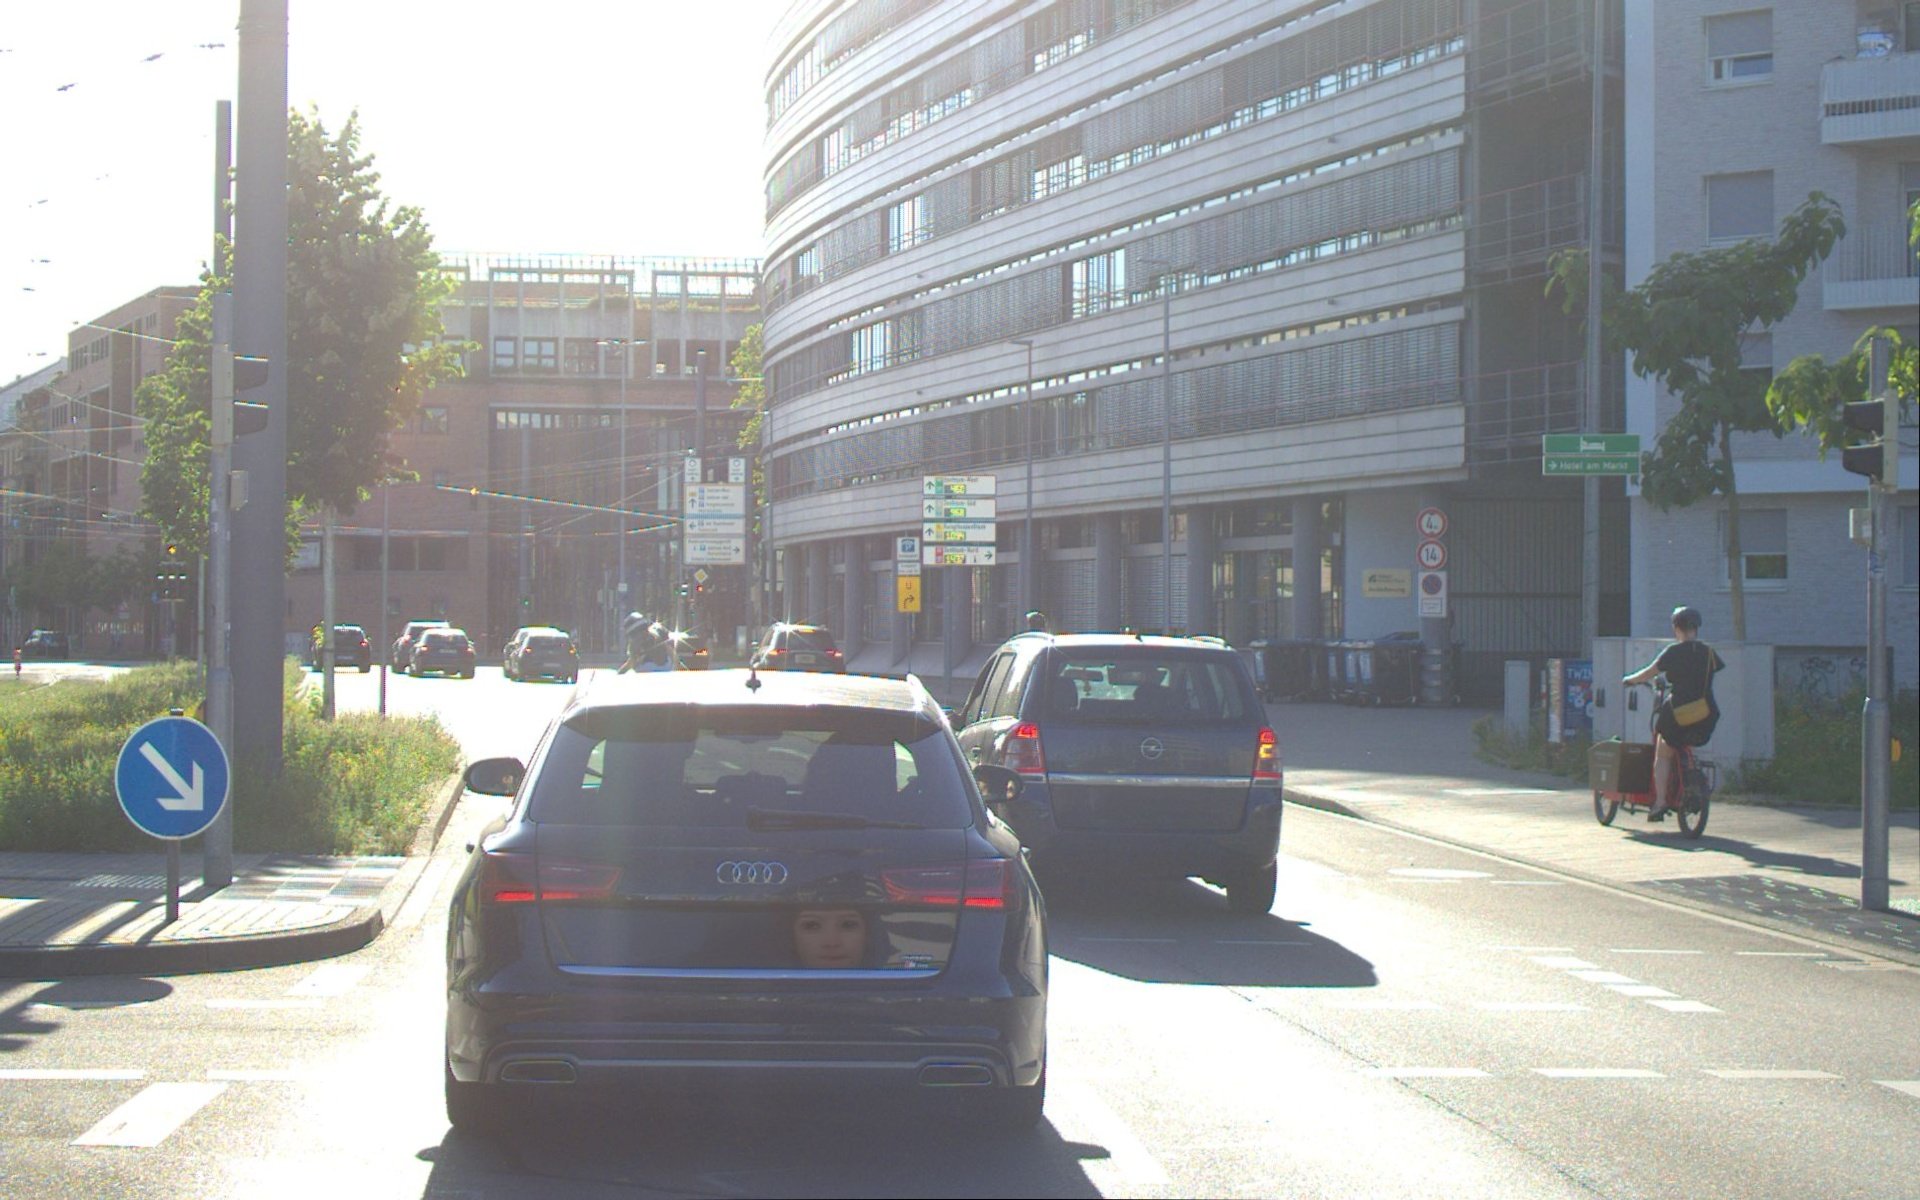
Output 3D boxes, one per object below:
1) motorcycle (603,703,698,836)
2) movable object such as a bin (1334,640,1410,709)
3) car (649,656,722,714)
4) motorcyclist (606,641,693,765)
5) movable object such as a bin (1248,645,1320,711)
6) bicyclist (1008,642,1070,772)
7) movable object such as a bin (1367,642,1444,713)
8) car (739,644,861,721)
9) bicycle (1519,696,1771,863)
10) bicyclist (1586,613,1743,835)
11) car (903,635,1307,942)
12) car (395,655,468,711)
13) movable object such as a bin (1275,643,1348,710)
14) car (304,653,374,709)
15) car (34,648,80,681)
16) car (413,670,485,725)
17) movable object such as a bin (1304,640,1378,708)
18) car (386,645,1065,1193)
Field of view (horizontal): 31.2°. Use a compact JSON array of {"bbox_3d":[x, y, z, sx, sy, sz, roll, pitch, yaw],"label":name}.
[{"bbox_3d":[-3.362,1.821,37.250,0.862,1.388,1.894,1,-2,-9],"label":"motorcycle"},{"bbox_3d":[8.071,1.470,67.322,1.059,1.328,1.125,1,-3,-23],"label":"movable object such as a bin"},{"bbox_3d":[-9.028,2.807,112.836,1.993,1.832,4.000,1,-2,-10],"label":"car"},{"bbox_3d":[-3.368,1.116,37.232,0.862,1.322,0.681,1,-2,-9],"label":"motorcyclist"},{"bbox_3d":[6.658,1.607,70.650,1.059,1.328,1.125,1,-3,-23],"label":"movable object such as a bin"},{"bbox_3d":[1.016,1.363,43.994,0.654,1.637,0.971,1,-1,8],"label":"bicyclist"},{"bbox_3d":[8.566,1.497,66.126,1.059,1.328,1.125,1,-3,-23],"label":"movable object such as a bin"},{"bbox_3d":[-3.903,1.970,83.041,2.002,1.709,4.373,3,-1,-14],"label":"car"},{"bbox_3d":[5.393,1.399,27.190,0.766,1.258,2.082,2,-2,-30],"label":"bicycle"},{"bbox_3d":[5.529,0.968,26.992,0.766,1.701,0.930,2,-2,-30],"label":"bicyclist"},{"bbox_3d":[0.790,1.108,21.461,1.745,1.690,4.261,2,-1,-8],"label":"car"},{"bbox_3d":[-16.869,2.661,109.625,1.993,1.700,4.001,1,-2,-13],"label":"car"},{"bbox_3d":[7.120,1.553,69.621,1.059,1.328,1.125,1,-3,-23],"label":"movable object such as a bin"},{"bbox_3d":[-19.703,2.587,108.994,1.993,1.700,4.001,1,-2,-13],"label":"car"},{"bbox_3d":[-49.577,3.565,188.706,1.993,1.700,4.000,1,-2,-21],"label":"car"},{"bbox_3d":[-15.367,2.956,103.279,1.993,1.591,4.000,1,-2,-10],"label":"car"},{"bbox_3d":[7.587,1.478,68.496,1.059,1.328,1.125,1,-3,-23],"label":"movable object such as a bin"},{"bbox_3d":[-0.627,0.931,11.640,1.842,1.449,4.000,3,-1,1],"label":"car"}]
